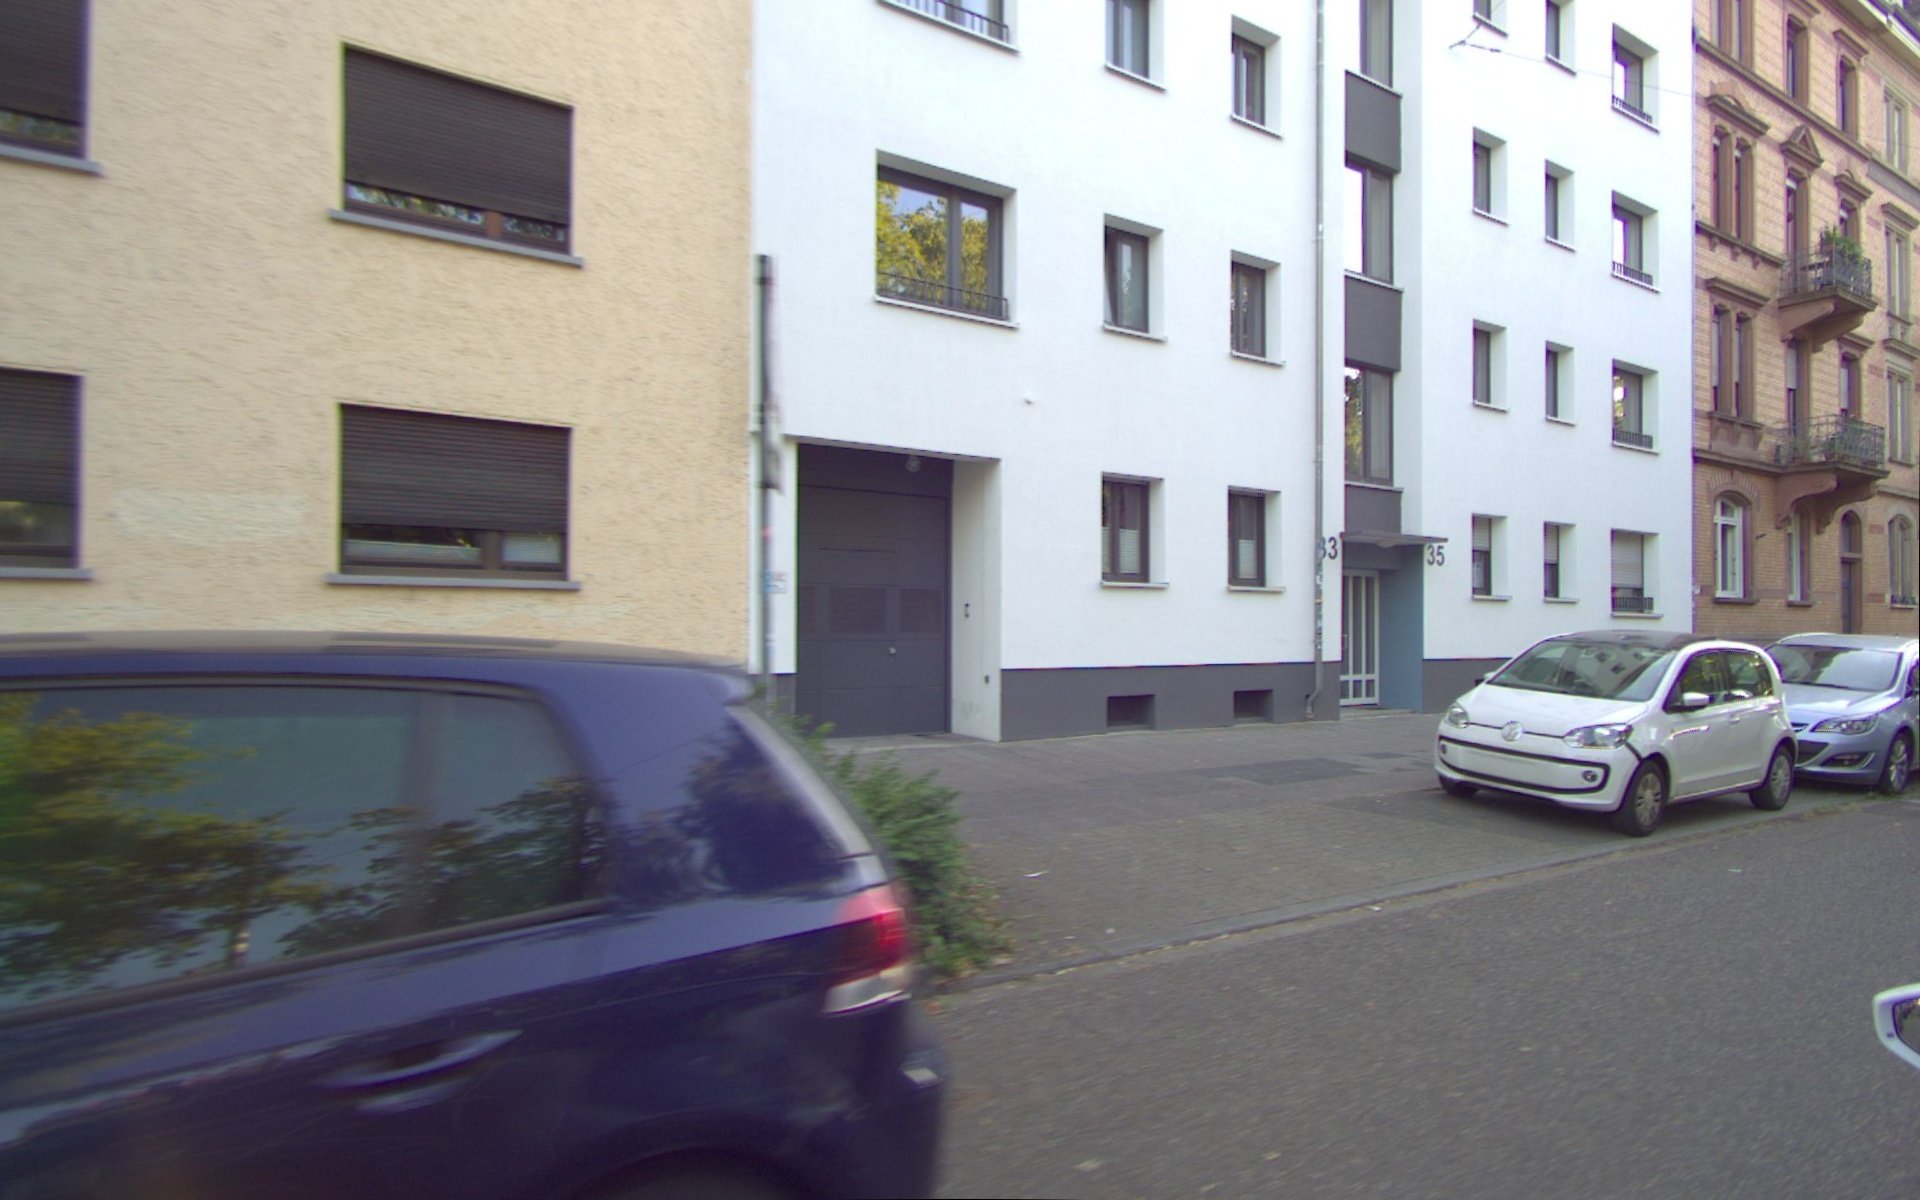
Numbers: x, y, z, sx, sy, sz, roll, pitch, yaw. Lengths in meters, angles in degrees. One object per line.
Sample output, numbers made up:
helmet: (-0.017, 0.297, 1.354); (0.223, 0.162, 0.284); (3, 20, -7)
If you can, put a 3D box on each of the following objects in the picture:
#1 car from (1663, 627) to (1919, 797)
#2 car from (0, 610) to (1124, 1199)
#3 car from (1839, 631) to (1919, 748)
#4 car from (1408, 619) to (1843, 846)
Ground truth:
car: (9.798, 1.098, 11.126); (4.234, 1.491, 1.660); (1, 1, -31)
car: (-1.824, 0.787, 1.639); (3.953, 1.498, 1.732); (1, -3, -30)
car: (14.061, 1.195, 13.899); (3.951, 1.471, 1.608); (1, 0, -29)
car: (5.941, 0.985, 8.863); (3.955, 1.528, 1.659); (1, 1, -32)
